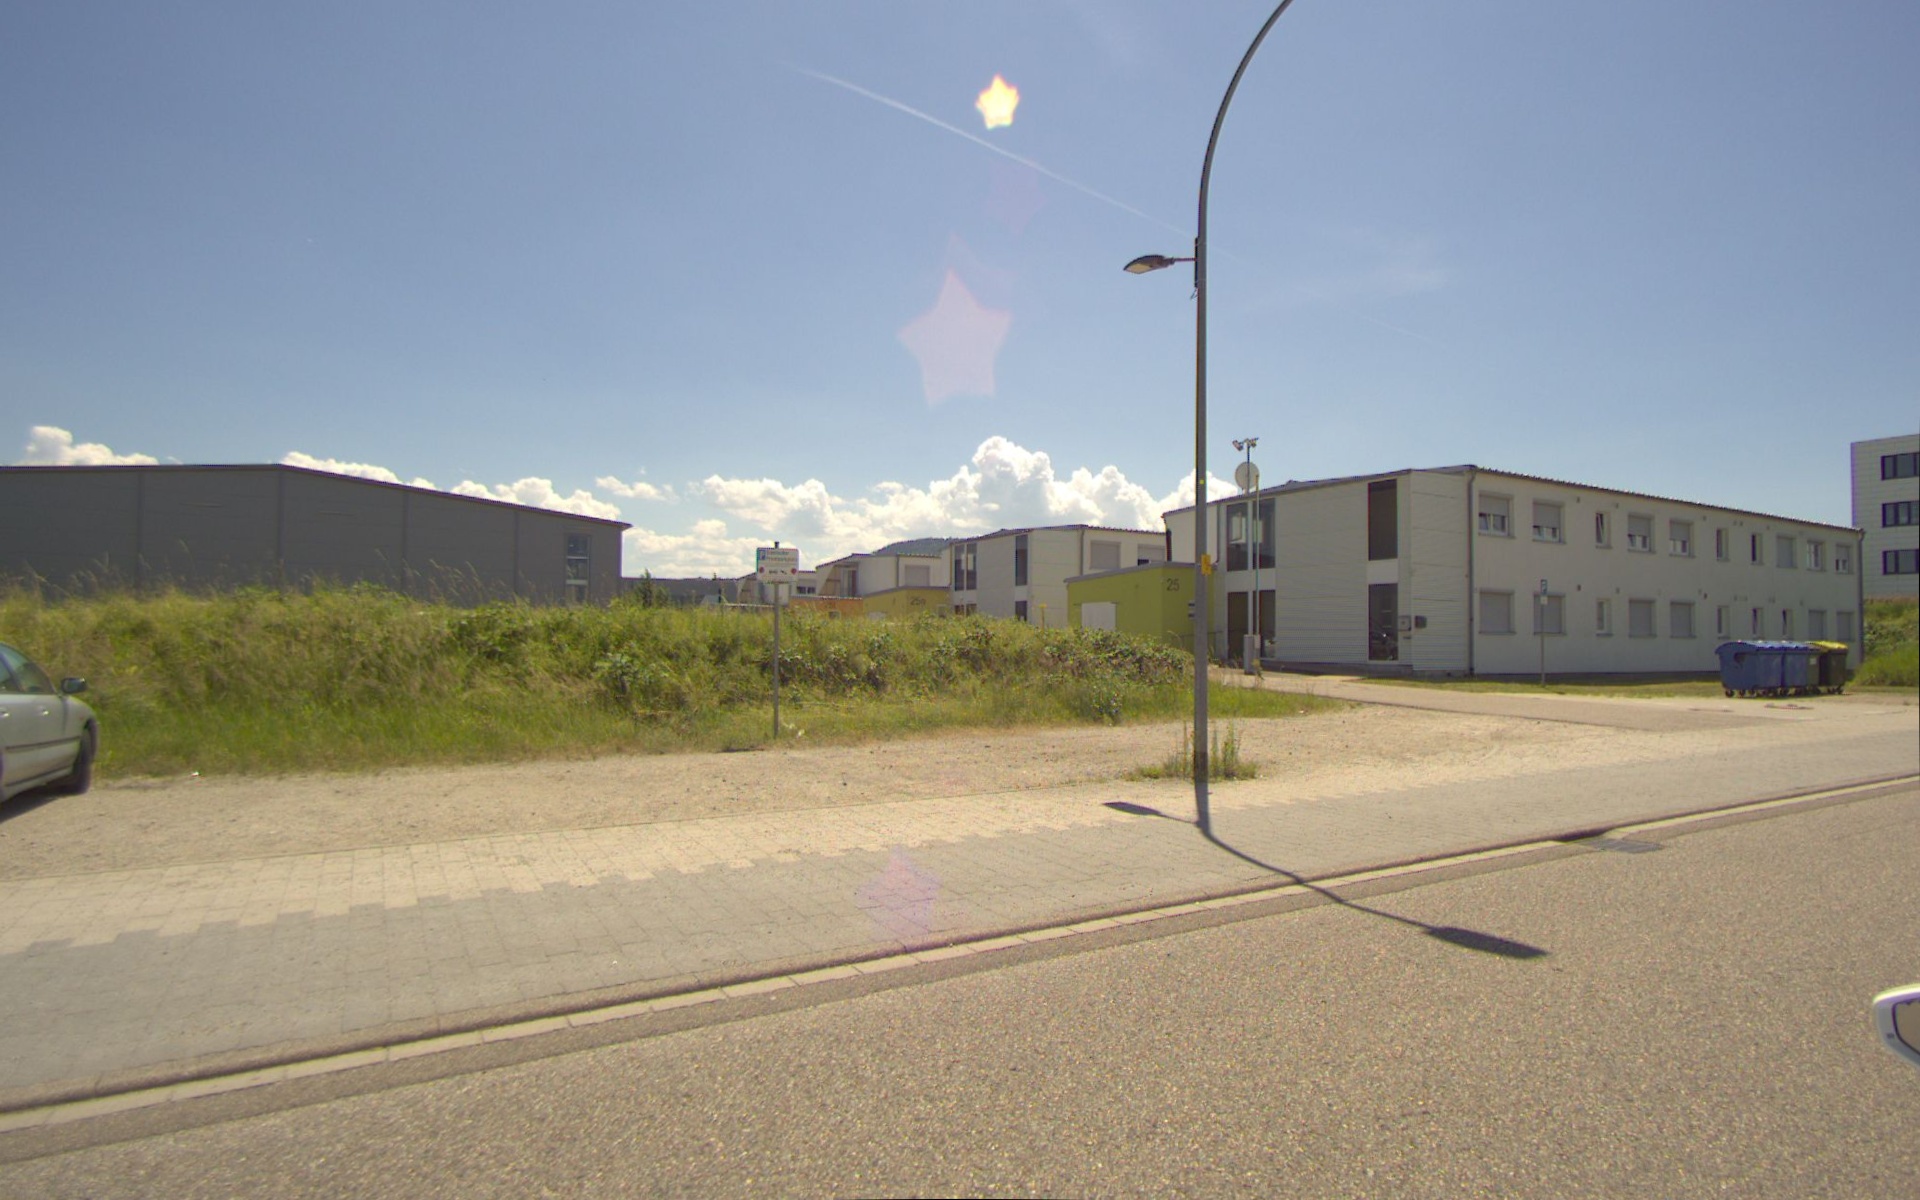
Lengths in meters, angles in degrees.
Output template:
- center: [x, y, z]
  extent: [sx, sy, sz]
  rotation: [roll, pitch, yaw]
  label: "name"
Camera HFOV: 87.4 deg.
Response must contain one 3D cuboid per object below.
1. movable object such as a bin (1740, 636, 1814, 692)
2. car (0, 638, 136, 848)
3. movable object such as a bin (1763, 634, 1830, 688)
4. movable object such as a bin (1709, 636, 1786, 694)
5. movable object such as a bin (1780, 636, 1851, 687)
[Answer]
- center: [22.230, 1.728, 27.340]
  extent: [1.354, 1.467, 1.120]
  rotation: [2, -2, -28]
  label: "movable object such as a bin"
- center: [-7.816, 0.977, 7.441]
  extent: [1.839, 1.397, 4.229]
  rotation: [2, -3, -29]
  label: "car"
- center: [23.403, 1.700, 28.111]
  extent: [1.373, 1.467, 1.082]
  rotation: [2, -2, -32]
  label: "movable object such as a bin"
- center: [20.850, 1.716, 26.597]
  extent: [1.416, 1.467, 1.139]
  rotation: [2, -2, -28]
  label: "movable object such as a bin"
- center: [24.590, 1.758, 28.872]
  extent: [1.370, 1.423, 1.138]
  rotation: [2, -2, -28]
  label: "movable object such as a bin"
